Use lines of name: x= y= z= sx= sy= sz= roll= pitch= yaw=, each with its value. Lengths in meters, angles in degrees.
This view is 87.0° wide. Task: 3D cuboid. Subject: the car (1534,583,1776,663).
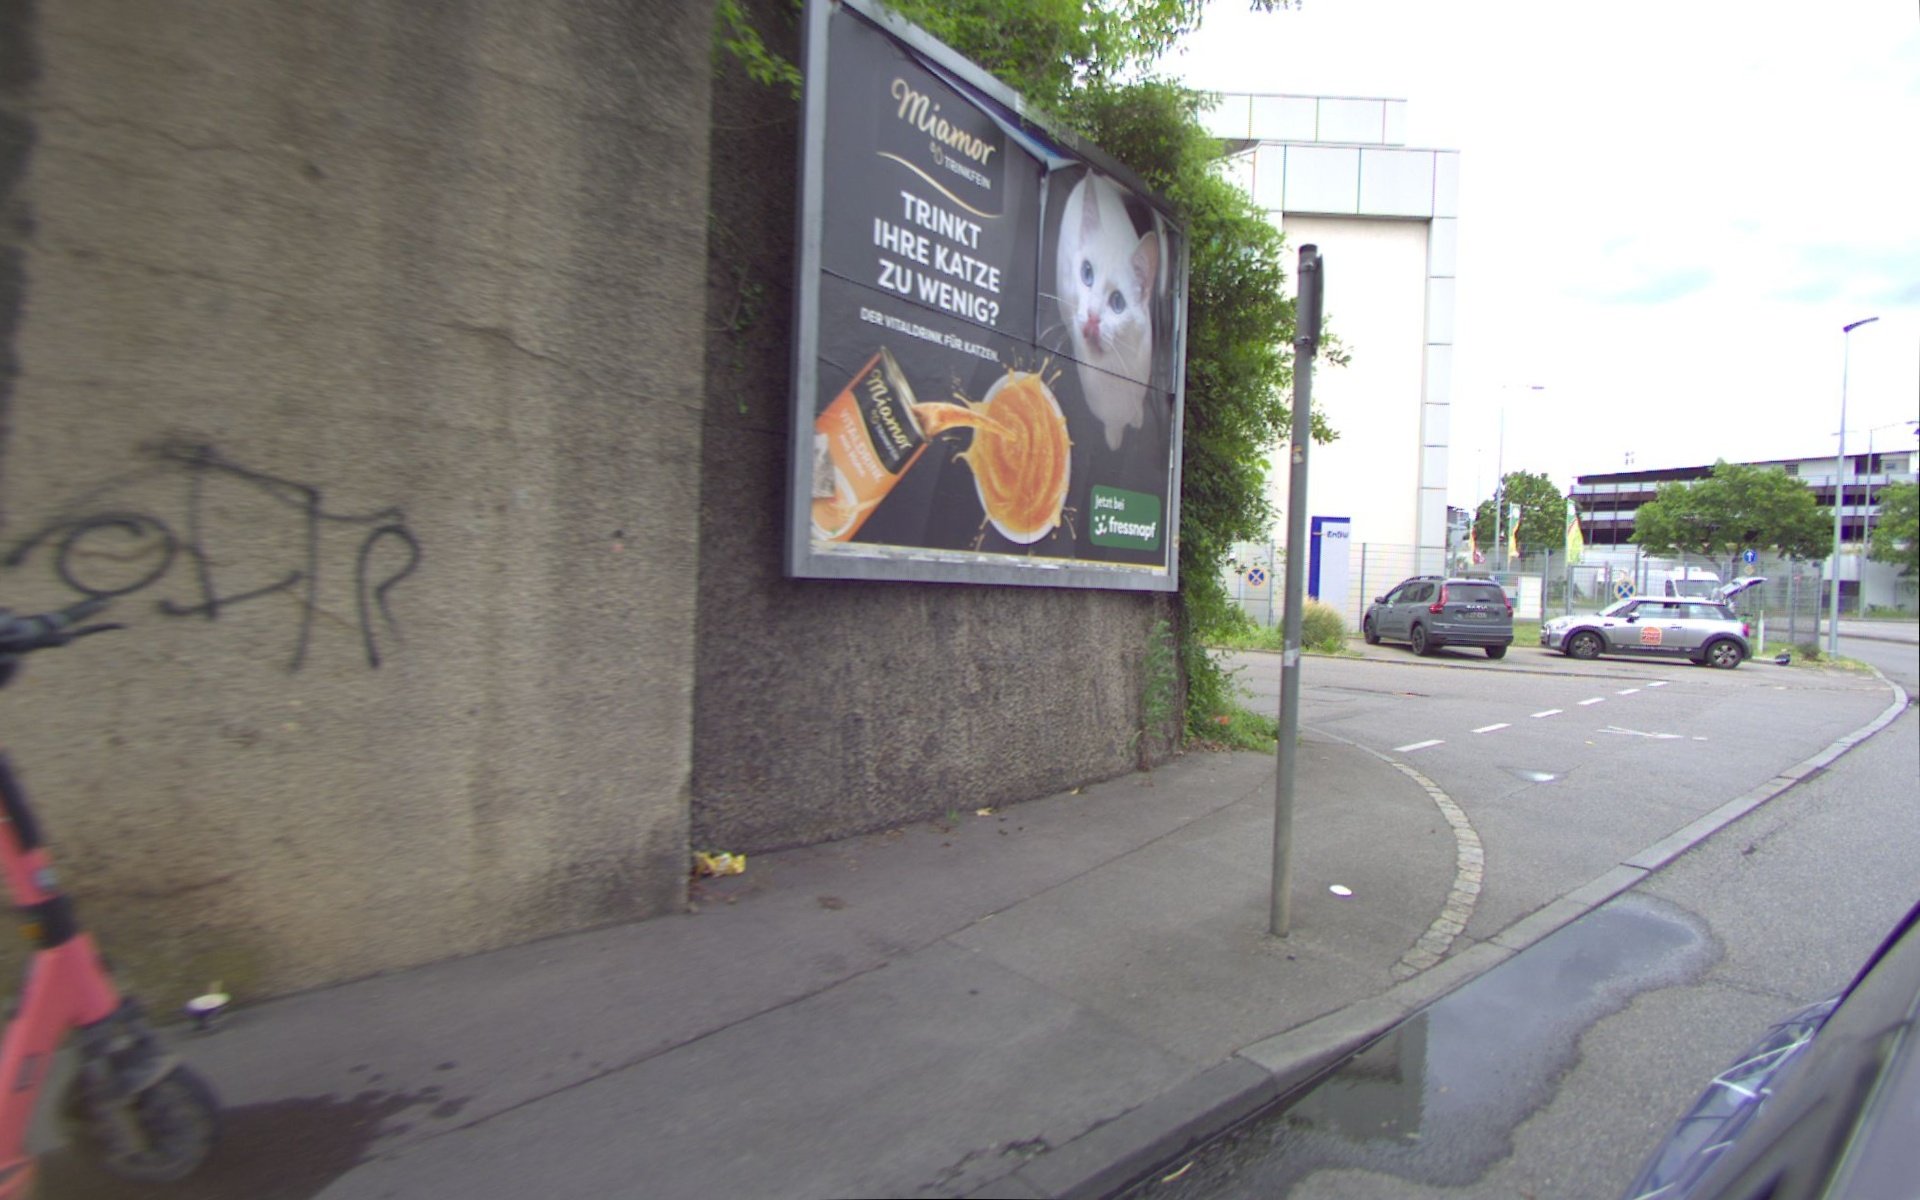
car: x=14.861 y=0.437 z=21.920 sx=3.975 sy=1.449 sz=1.772 roll=2 pitch=2 yaw=23

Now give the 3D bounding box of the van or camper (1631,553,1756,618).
van or camper: x=31.326 y=-0.684 z=43.482 sx=2.240 sy=2.588 sz=6.081 roll=1 pitch=2 yaw=15

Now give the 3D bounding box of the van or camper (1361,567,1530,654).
van or camper: x=10.475 y=0.128 z=22.242 sx=1.800 sy=1.715 sz=4.502 roll=0 pitch=2 yaw=4

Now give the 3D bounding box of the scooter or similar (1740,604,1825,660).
scooter or similar: x=19.074 y=0.725 z=23.482 sx=0.472 sy=1.147 sz=1.418 roll=0 pitch=4 yaw=-41

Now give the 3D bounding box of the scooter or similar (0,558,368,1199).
scooter or similar: x=-1.902 y=0.573 z=1.539 sx=0.502 sy=1.250 sz=1.649 roll=6 pitch=5 yaw=34
